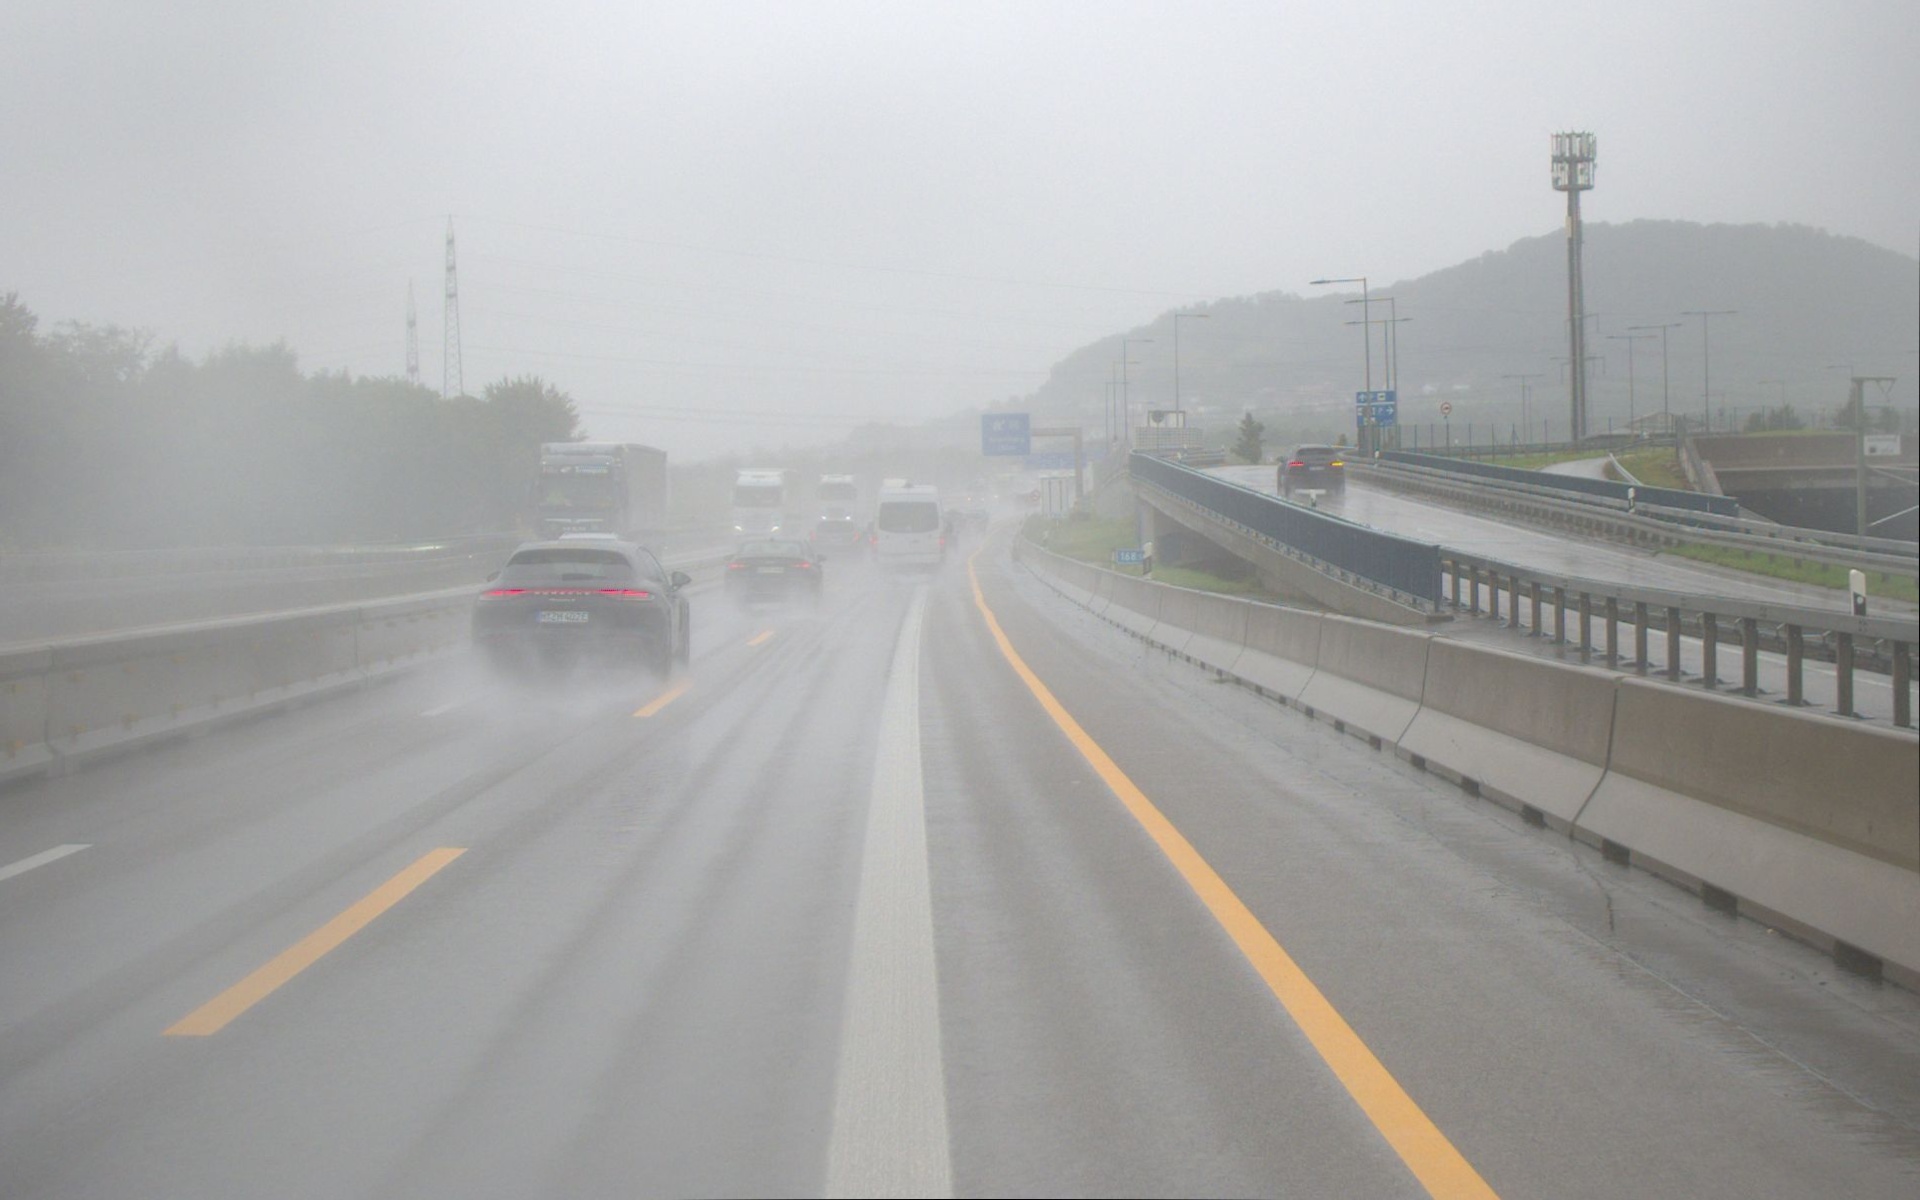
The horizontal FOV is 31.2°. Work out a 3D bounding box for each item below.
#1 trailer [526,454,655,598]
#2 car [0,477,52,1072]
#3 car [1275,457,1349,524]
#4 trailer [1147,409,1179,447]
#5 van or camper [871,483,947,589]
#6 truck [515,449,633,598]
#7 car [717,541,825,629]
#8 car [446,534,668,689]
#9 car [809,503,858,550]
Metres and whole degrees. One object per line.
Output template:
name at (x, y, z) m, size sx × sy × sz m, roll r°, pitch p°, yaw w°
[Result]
trailer at (-11.077, -2.170, 104.188) m, size 2.650 × 4.095 × 12.315 m, roll 0°, pitch 1°, yaw 0°
car at (-3.385, 0.492, 7.320) m, size 1.701 × 1.592 × 4.845 m, roll 0°, pitch 1°, yaw -1°
car at (11.827, -3.661, 115.645) m, size 1.993 × 2.135 × 4.000 m, roll 0°, pitch 1°, yaw -1°
trailer at (14.327, -12.107, 242.951) m, size 1.994 × 2.099 × 13.768 m, roll 0°, pitch 1°, yaw 2°
van or camper at (-1.389, -1.704, 92.715) m, size 1.996 × 2.768 × 4.050 m, roll 0°, pitch 1°, yaw -1°
truck at (-11.027, -2.159, 98.647) m, size 2.642 × 4.113 × 6.696 m, roll 0°, pitch 1°, yaw 0°
car at (-3.550, -0.312, 65.239) m, size 1.844 × 1.486 × 4.262 m, roll -2°, pitch 2°, yaw -1°
car at (-4.055, 0.089, 35.204) m, size 1.844 × 1.486 × 4.262 m, roll 0°, pitch 1°, yaw -1°
car at (-4.334, -2.501, 117.690) m, size 1.566 × 1.475 × 2.822 m, roll -2°, pitch 0°, yaw -1°
